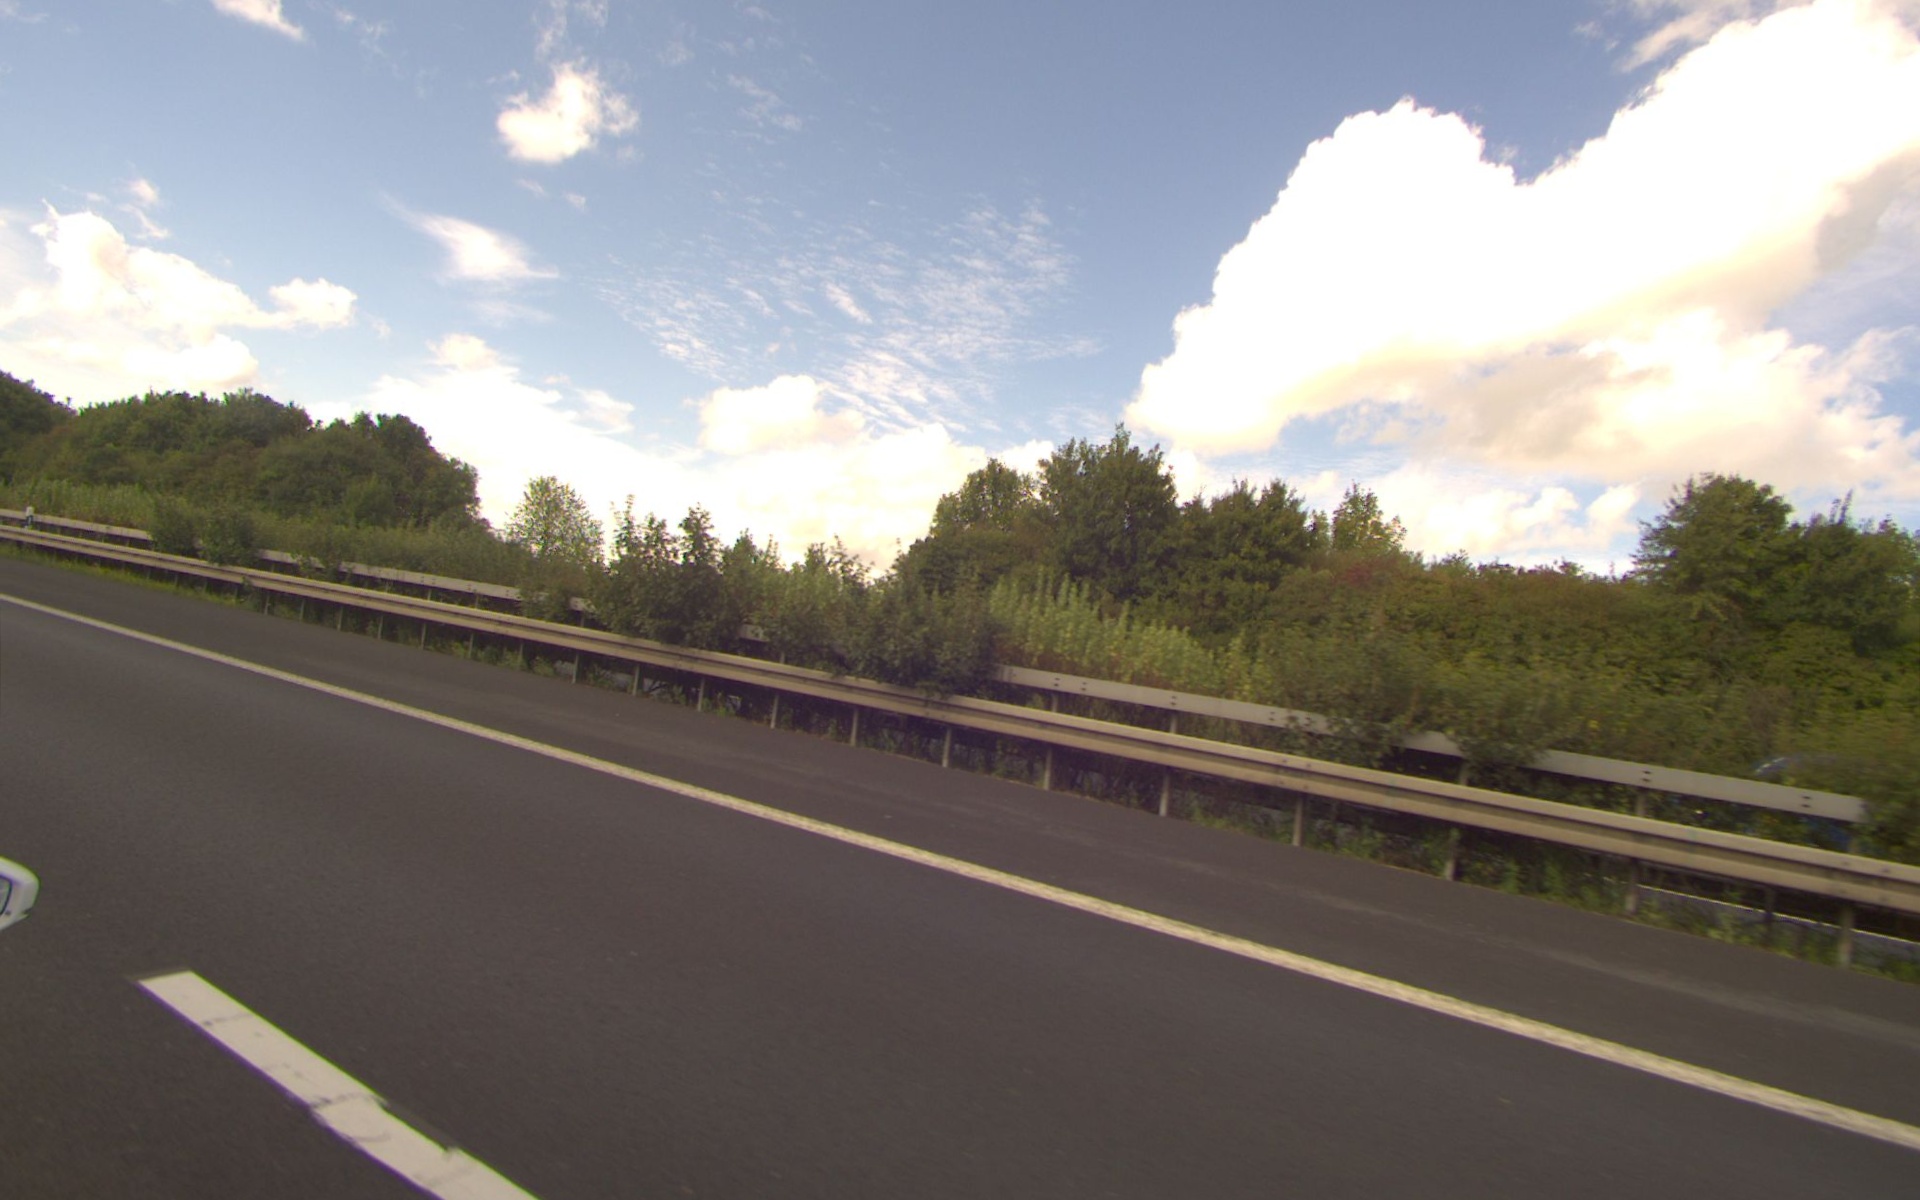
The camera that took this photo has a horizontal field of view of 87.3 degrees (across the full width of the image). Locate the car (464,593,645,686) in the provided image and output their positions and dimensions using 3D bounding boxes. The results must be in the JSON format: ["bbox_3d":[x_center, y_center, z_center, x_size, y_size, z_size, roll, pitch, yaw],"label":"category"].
[{"bbox_3d":[-9.534,0.910,23.586,3.958,1.589,1.788,6,-2,32],"label":"car"}]

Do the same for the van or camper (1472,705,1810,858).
[{"bbox_3d":[14.653,3.835,22.189,5.675,2.205,2.198,7,-2,25],"label":"van or camper"}]
